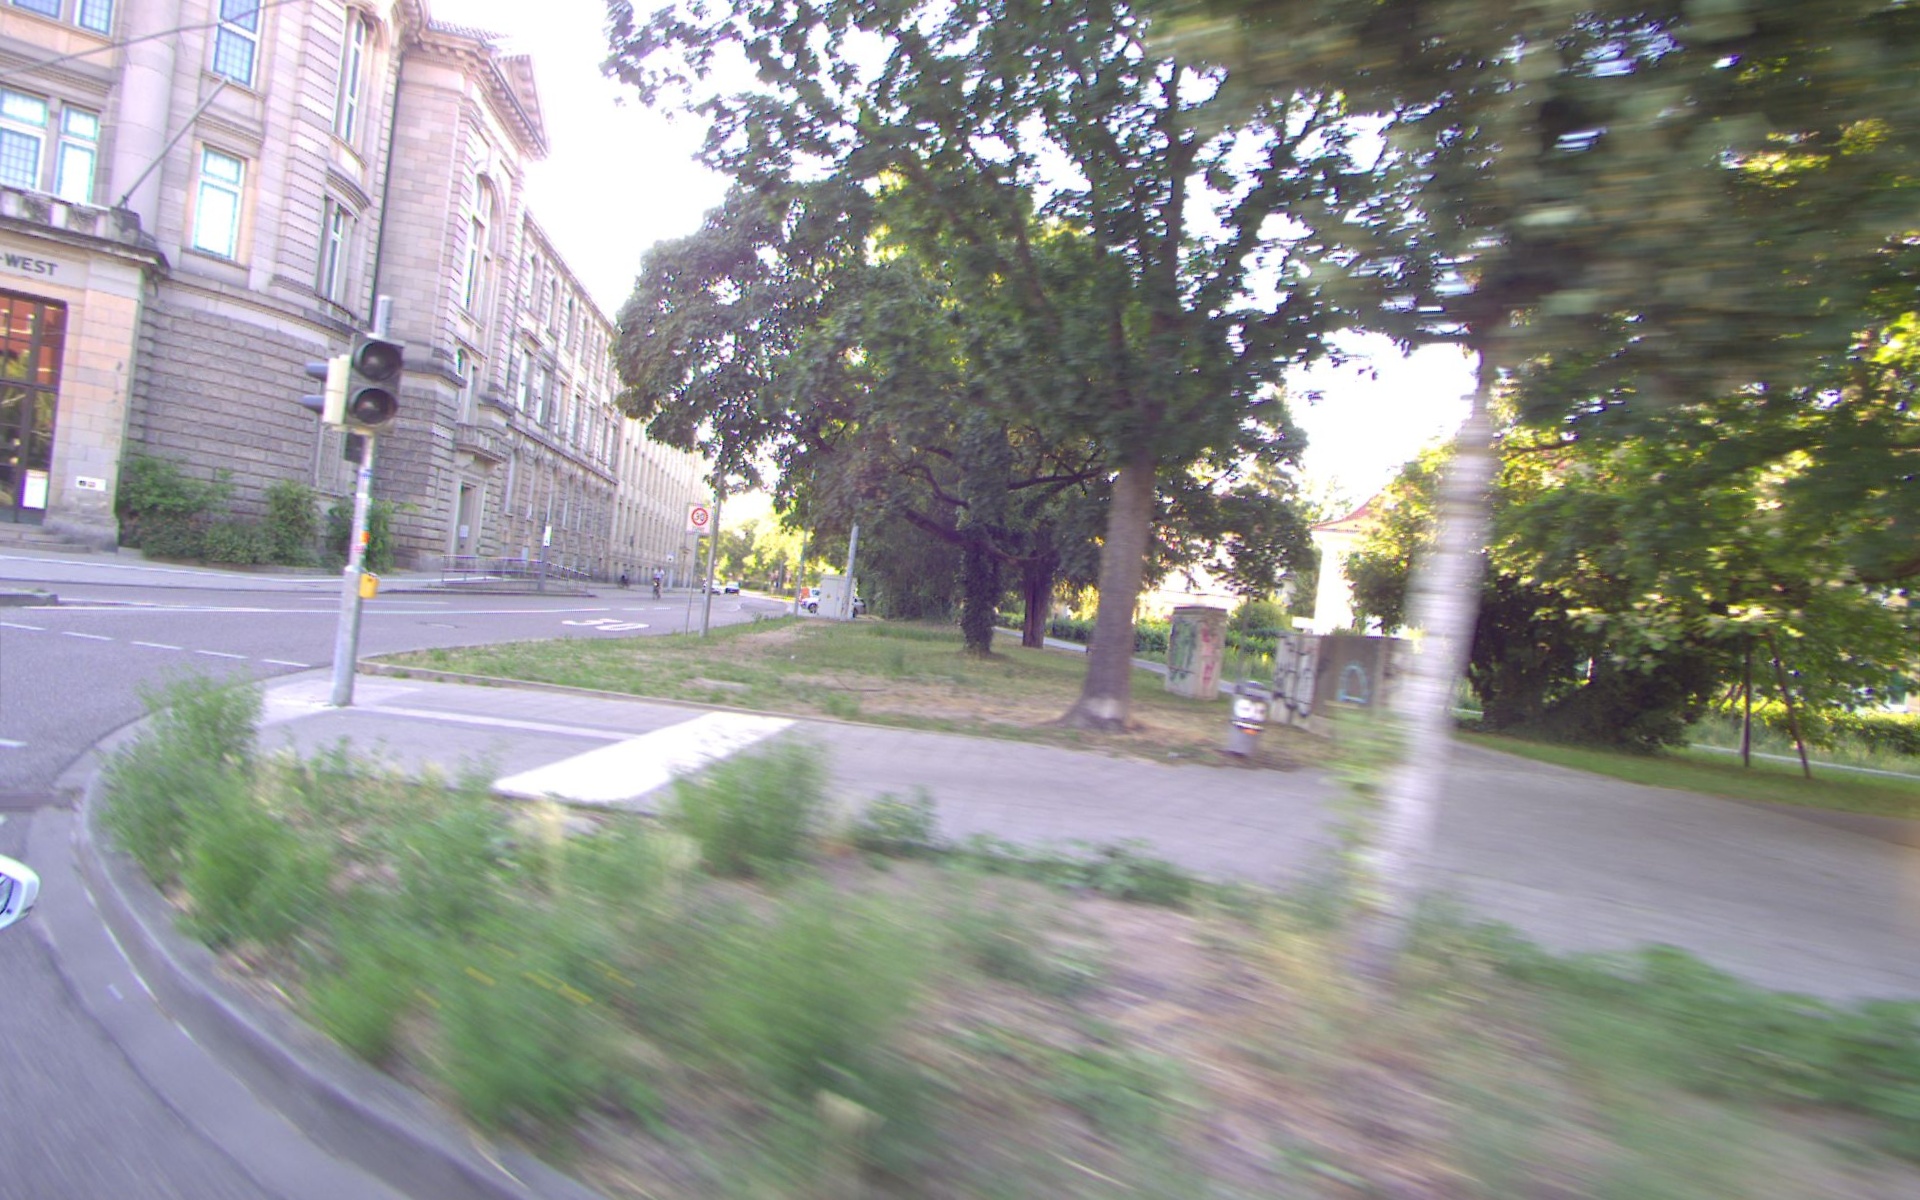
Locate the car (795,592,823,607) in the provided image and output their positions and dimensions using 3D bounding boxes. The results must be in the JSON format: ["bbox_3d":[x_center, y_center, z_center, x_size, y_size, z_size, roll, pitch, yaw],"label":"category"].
[{"bbox_3d":[-18.115,-0.095,120.808,3.104,1.522,1.536,5,0,-16],"label":"car"}]

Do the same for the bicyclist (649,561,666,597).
[{"bbox_3d":[-16.006,-1.129,53.237,0.637,1.829,0.777,6,1,-18],"label":"bicyclist"}]

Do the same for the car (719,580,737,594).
[{"bbox_3d":[-28.336,-1.625,122.728,1.854,1.484,4.363,7,0,-12],"label":"car"}]

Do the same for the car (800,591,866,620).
[{"bbox_3d":[-8.825,0.366,69.676,4.380,1.487,1.779,6,0,-10],"label":"car"}]

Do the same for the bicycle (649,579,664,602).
[{"bbox_3d":[-16.124,-0.520,53.403,0.655,1.083,2.145,6,0,-18],"label":"bicycle"}]

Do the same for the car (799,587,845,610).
[{"bbox_3d":[-15.150,-0.154,110.347,4.758,2.039,1.796,6,0,-16],"label":"car"}]

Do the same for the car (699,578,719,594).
[{"bbox_3d":[-26.337,-1.452,105.487,1.705,1.414,4.363,7,-1,-12],"label":"car"}]

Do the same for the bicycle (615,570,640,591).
[{"bbox_3d":[-20.657,-1.205,62.549,0.840,1.114,1.981,9,-1,-5],"label":"bicycle"}]

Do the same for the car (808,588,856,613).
[{"bbox_3d":[-11.691,0.073,91.696,4.168,1.882,1.998,6,0,-8],"label":"car"}]
